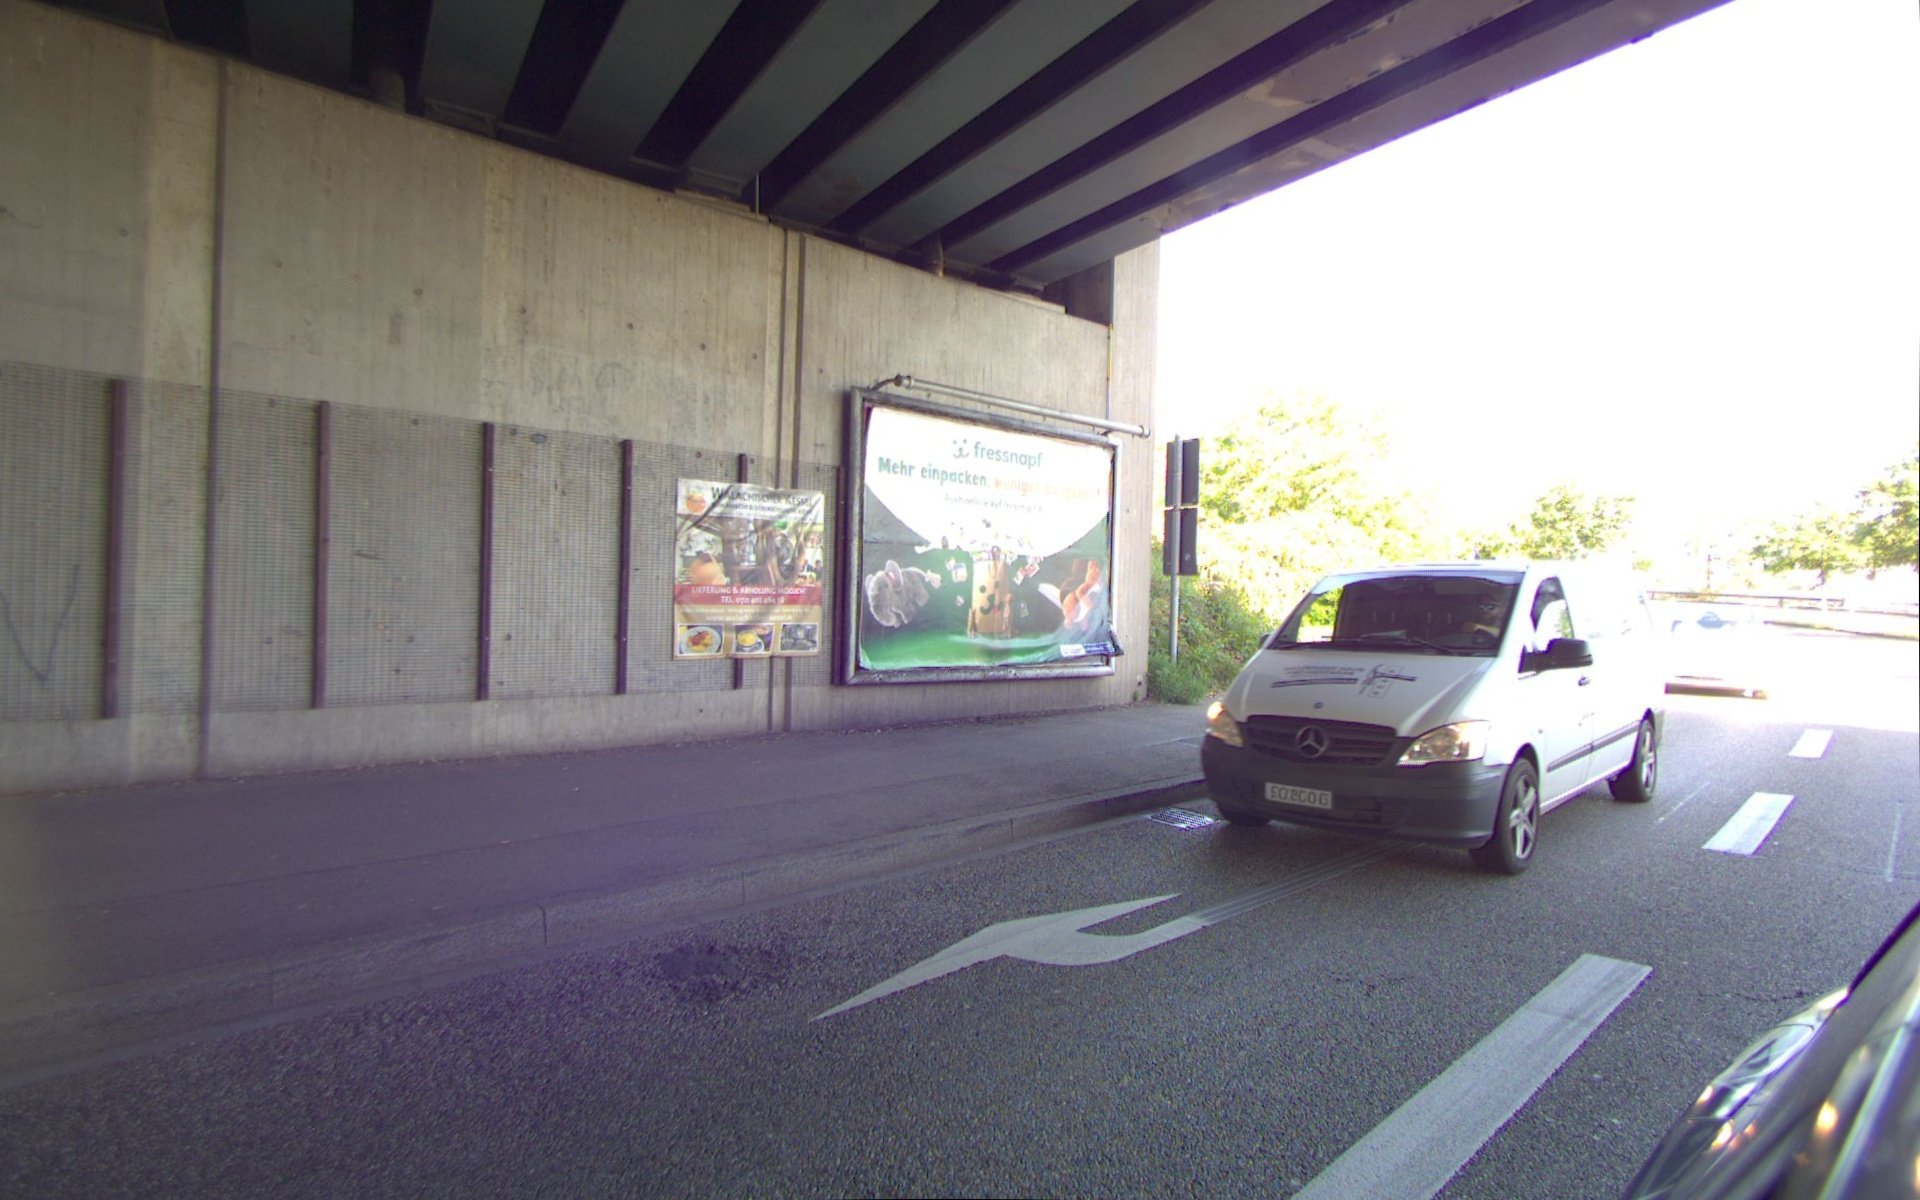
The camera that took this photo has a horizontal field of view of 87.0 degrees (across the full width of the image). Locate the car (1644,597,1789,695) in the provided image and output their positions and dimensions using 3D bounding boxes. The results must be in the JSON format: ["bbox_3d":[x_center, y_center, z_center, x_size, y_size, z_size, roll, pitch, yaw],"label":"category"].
[{"bbox_3d":[14.361,0.759,19.149,1.990,1.570,4.359,0,1,39],"label":"car"}]

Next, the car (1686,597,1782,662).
[{"bbox_3d":[21.107,0.751,27.738,1.767,1.621,4.056,0,0,33],"label":"car"}]

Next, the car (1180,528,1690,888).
[{"bbox_3d":[3.795,0.552,7.567,4.755,1.859,1.899,0,0,-44],"label":"car"}]
